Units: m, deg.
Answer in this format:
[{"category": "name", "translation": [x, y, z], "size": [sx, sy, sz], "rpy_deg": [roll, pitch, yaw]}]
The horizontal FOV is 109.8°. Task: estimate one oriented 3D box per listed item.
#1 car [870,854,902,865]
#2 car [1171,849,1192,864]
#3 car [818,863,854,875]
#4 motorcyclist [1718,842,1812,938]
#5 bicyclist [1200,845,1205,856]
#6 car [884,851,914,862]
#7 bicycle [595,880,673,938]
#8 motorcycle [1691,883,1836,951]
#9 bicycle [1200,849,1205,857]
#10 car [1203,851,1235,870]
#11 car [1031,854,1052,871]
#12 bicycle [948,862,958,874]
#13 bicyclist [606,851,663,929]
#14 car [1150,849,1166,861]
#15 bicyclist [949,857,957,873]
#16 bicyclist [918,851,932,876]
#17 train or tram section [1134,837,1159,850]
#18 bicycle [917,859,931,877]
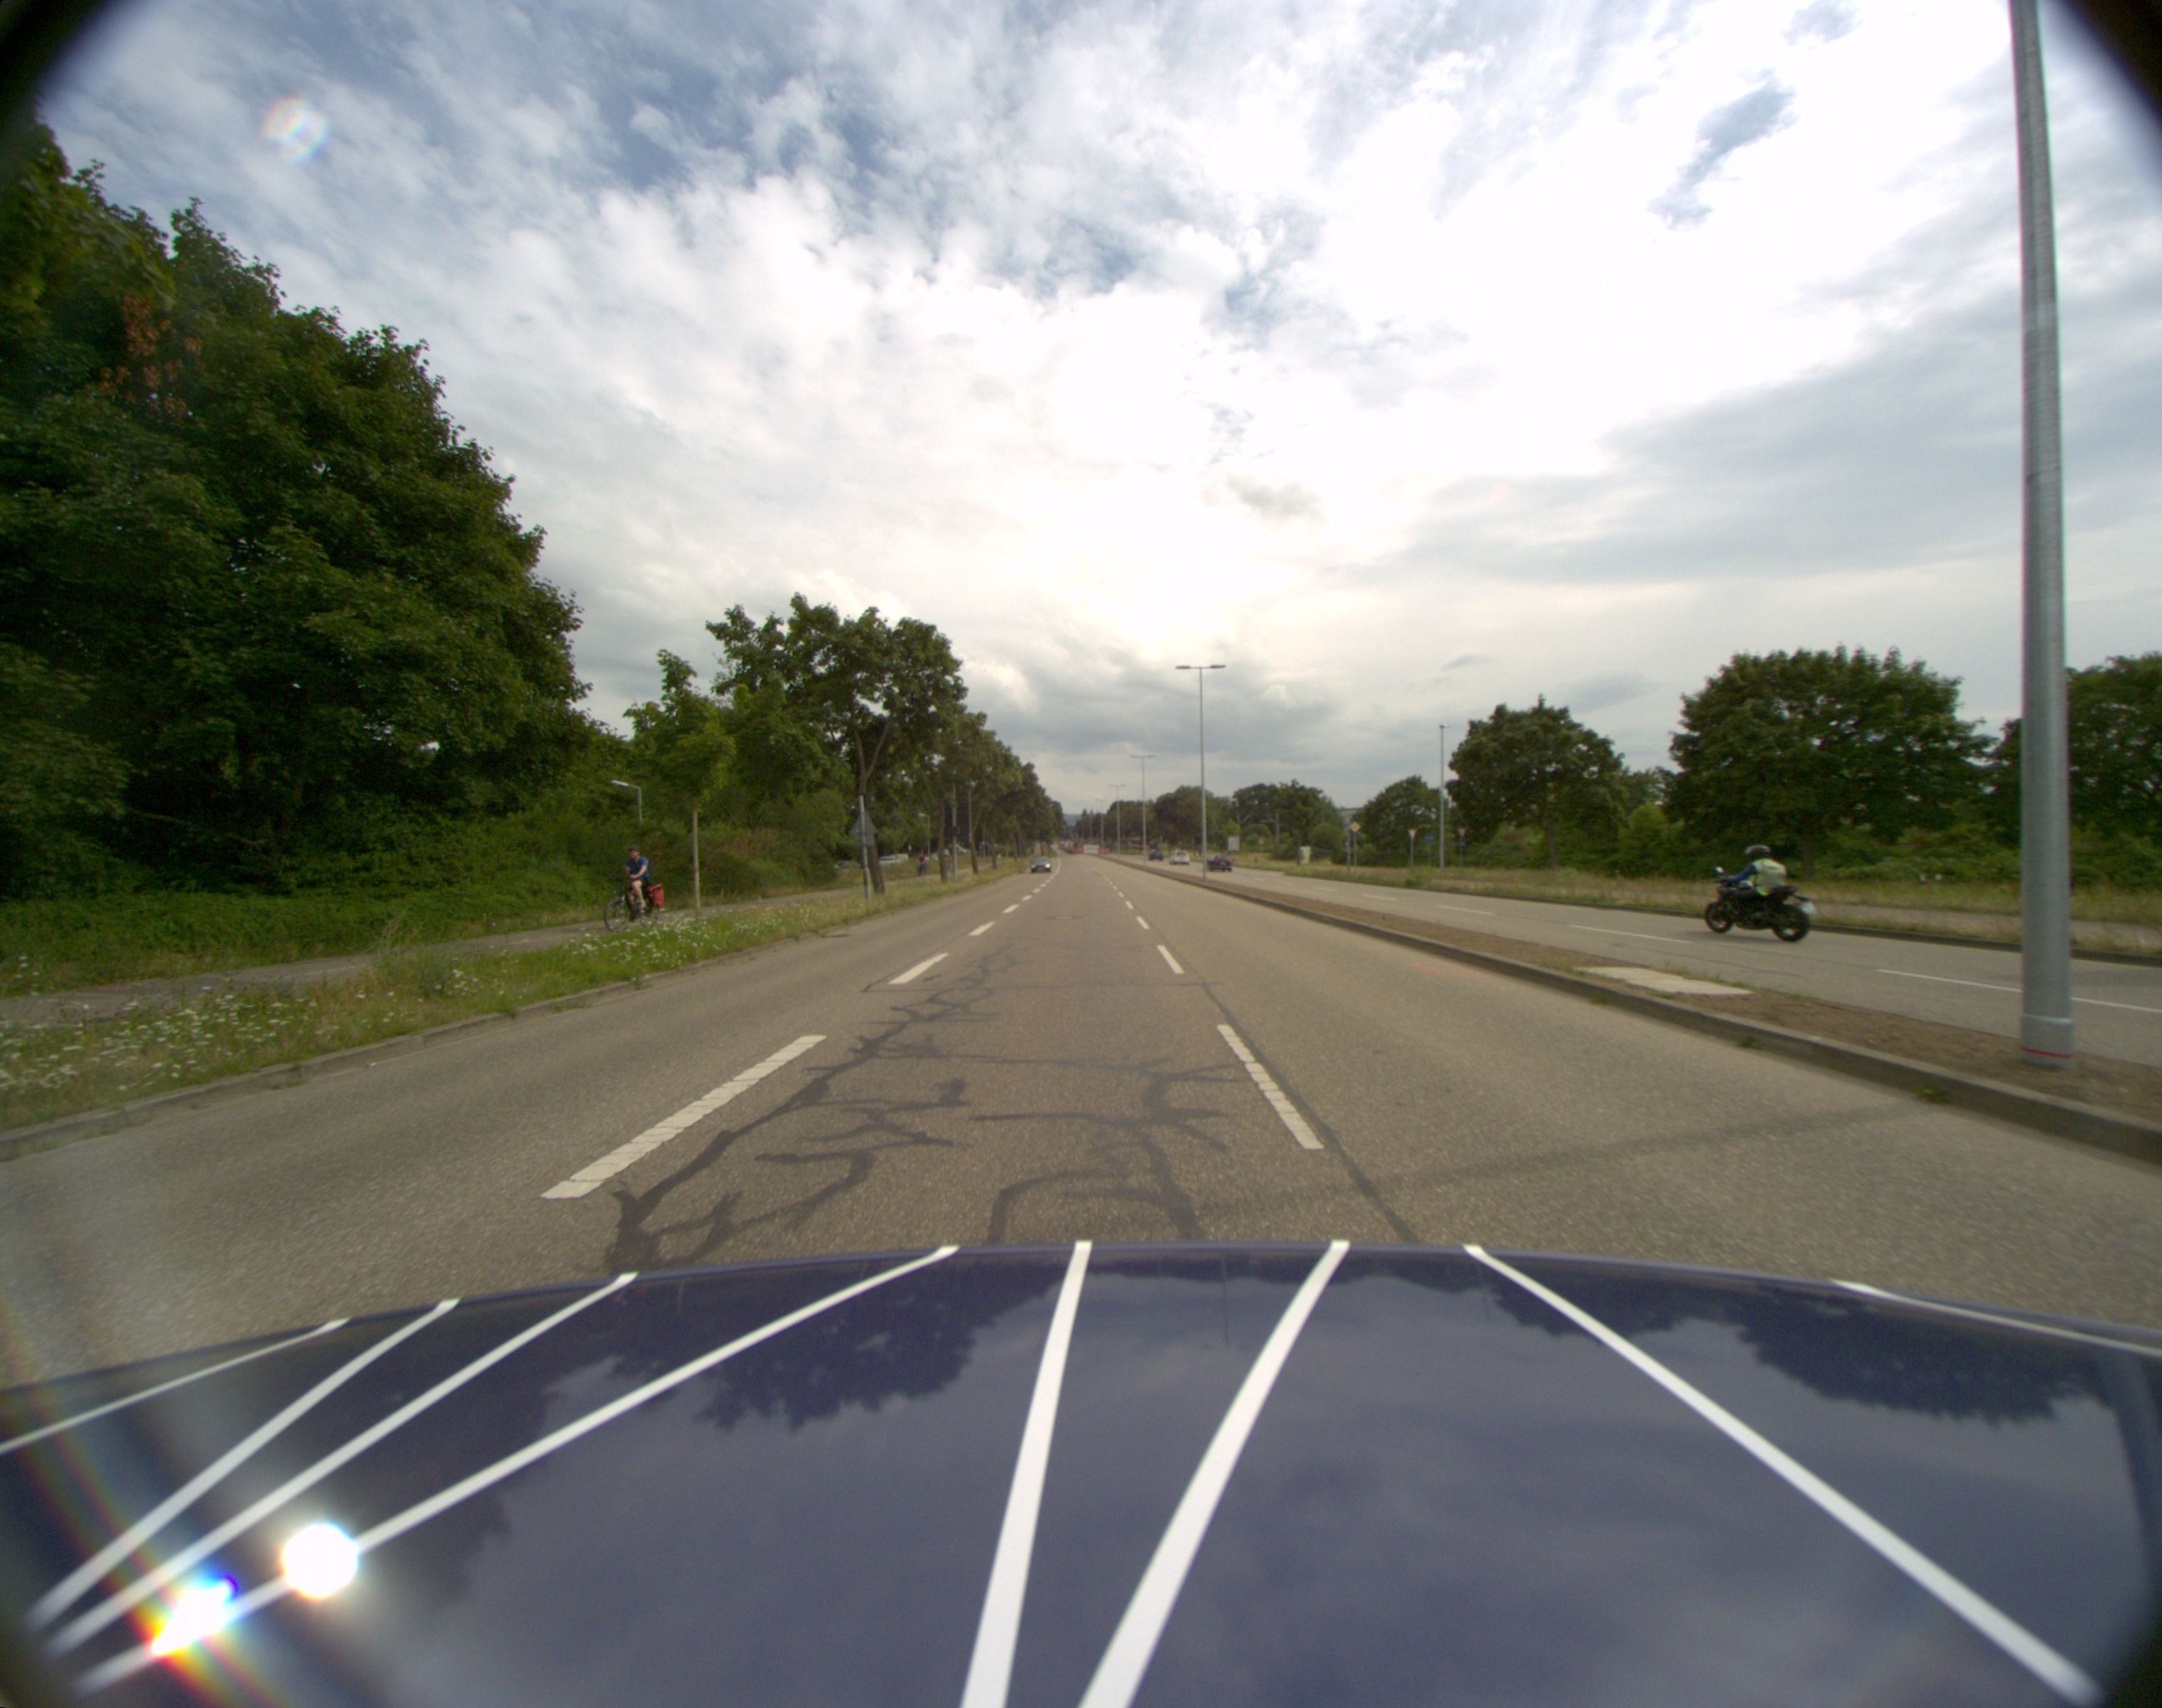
[{"category": "car", "translation": [-26.692, 0.751, 104.086], "size": [3.999, 1.435, 1.650], "rpy_deg": [0, 1, -6]}, {"category": "car", "translation": [11.852, 0.243, 90.075], "size": [1.773, 1.644, 4.637], "rpy_deg": [1, 1, -1]}, {"category": "car", "translation": [-26.468, 1.592, 82.255], "size": [3.448, 1.184, 1.357], "rpy_deg": [-1, 0, -6]}, {"category": "motorcyclist", "translation": [11.616, 0.594, 12.928], "size": [0.772, 1.579, 0.896], "rpy_deg": [0, 1, 1]}, {"category": "bicyclist", "translation": [20.993, -0.572, 131.530], "size": [0.645, 1.821, 0.819], "rpy_deg": [0, 1, -1]}, {"category": "car", "translation": [-26.733, 0.325, 111.606], "size": [3.999, 1.547, 1.650], "rpy_deg": [0, 1, -6]}, {"category": "bicycle", "translation": [-9.874, 1.175, 16.882], "size": [0.575, 1.141, 1.982], "rpy_deg": [0, 0, -1]}, {"category": "motorcycle", "translation": [11.634, 1.039, 13.066], "size": [0.524, 0.961, 2.219], "rpy_deg": [-1, 0, 1]}, {"category": "bicycle", "translation": [20.969, -0.184, 131.517], "size": [0.537, 1.414, 2.166], "rpy_deg": [0, 1, 0]}, {"category": "car", "translation": [11.628, 0.555, 64.385], "size": [1.773, 1.523, 4.740], "rpy_deg": [0, 1, -1]}, {"category": "car", "translation": [-3.525, 0.739, 68.598], "size": [1.773, 1.439, 4.322], "rpy_deg": [-1, 1, -2]}, {"category": "bicycle", "translation": [-10.539, 1.144, 62.429], "size": [0.515, 0.958, 1.782], "rpy_deg": [0, 1, -1]}, {"category": "bicyclist", "translation": [-9.867, 0.767, 16.827], "size": [0.653, 1.648, 0.876], "rpy_deg": [-2, 1, -1]}, {"category": "car", "translation": [11.555, 0.113, 113.789], "size": [1.852, 1.644, 4.563], "rpy_deg": [0, 1, -1]}, {"category": "bicyclist", "translation": [-10.548, 0.895, 62.417], "size": [0.540, 1.275, 0.450], "rpy_deg": [-2, 2, -1]}, {"category": "bicyclist", "translation": [-10.435, 0.609, 50.837], "size": [0.653, 1.648, 0.781], "rpy_deg": [-2, 1, -1]}, {"category": "train or tram section", "translation": [18.359, -3.018, 213.308], "size": [2.924, 3.402, 11.930], "rpy_deg": [-3, 1, -15]}, {"category": "bicycle", "translation": [-10.462, 0.948, 50.749], "size": [0.515, 1.141, 2.231], "rpy_deg": [0, 1, -1]}]
